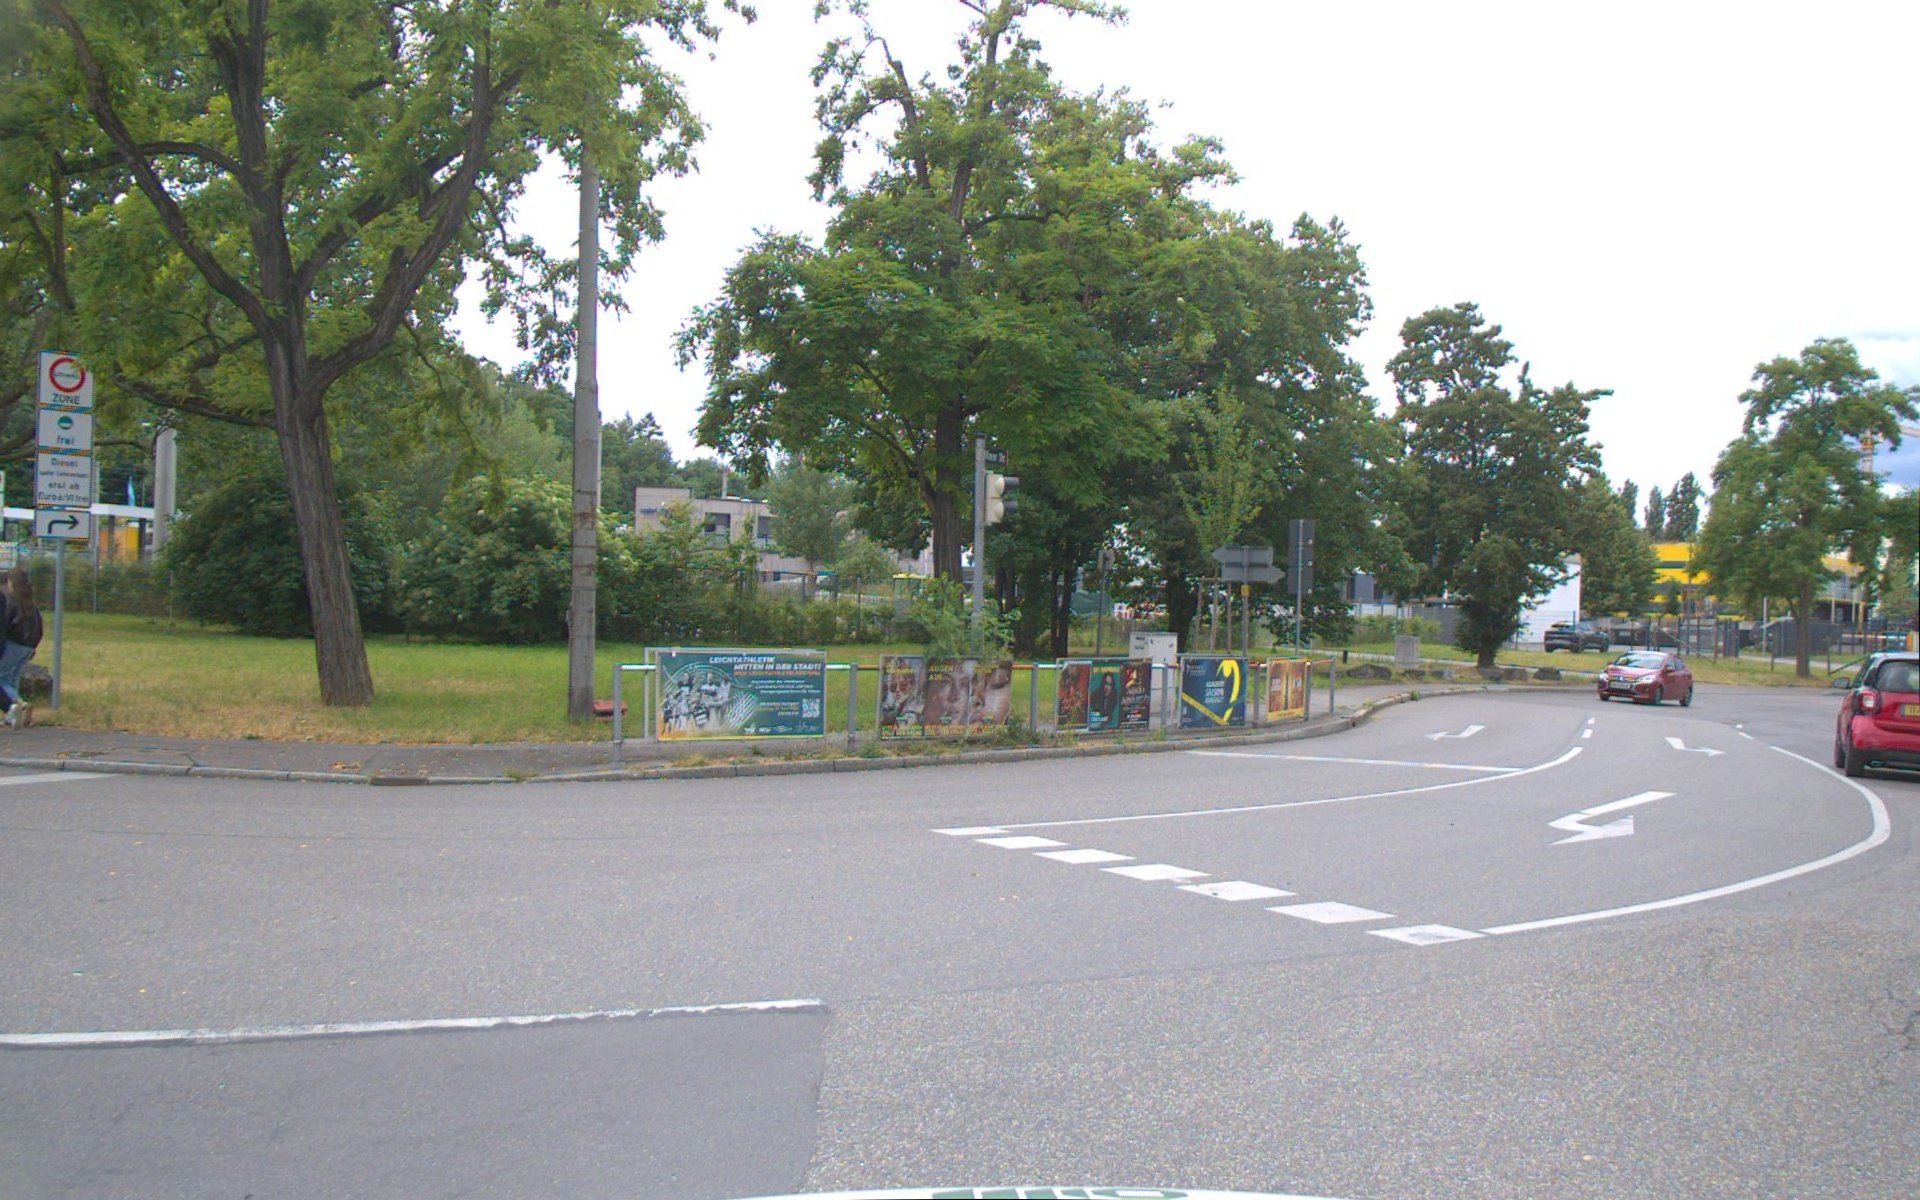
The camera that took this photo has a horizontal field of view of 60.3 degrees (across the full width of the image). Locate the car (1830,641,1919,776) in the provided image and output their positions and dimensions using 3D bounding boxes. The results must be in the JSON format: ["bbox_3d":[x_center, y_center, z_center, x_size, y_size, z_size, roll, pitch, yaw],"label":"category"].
[{"bbox_3d":[11.878,1.314,20.569,1.677,1.490,3.018,2,0,25],"label":"car"}]

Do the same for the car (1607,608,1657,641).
[{"bbox_3d":[44.250,1.608,108.868,1.932,2.048,4.200,3,0,38],"label":"car"}]

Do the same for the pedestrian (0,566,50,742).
[{"bbox_3d":[-9.837,0.526,16.768,0.769,1.744,0.696,1,0,6],"label":"pedestrian"}]

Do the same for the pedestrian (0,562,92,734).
[{"bbox_3d":[-9.821,0.493,17.562,0.769,1.770,0.696,1,0,6],"label":"pedestrian"}]

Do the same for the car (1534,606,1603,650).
[{"bbox_3d":[29.884,1.380,81.158,1.932,2.048,4.200,3,0,38],"label":"car"}]

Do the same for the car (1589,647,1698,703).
[{"bbox_3d":[19.575,2.120,47.301,1.703,1.491,3.810,0,-2,42],"label":"car"}]
